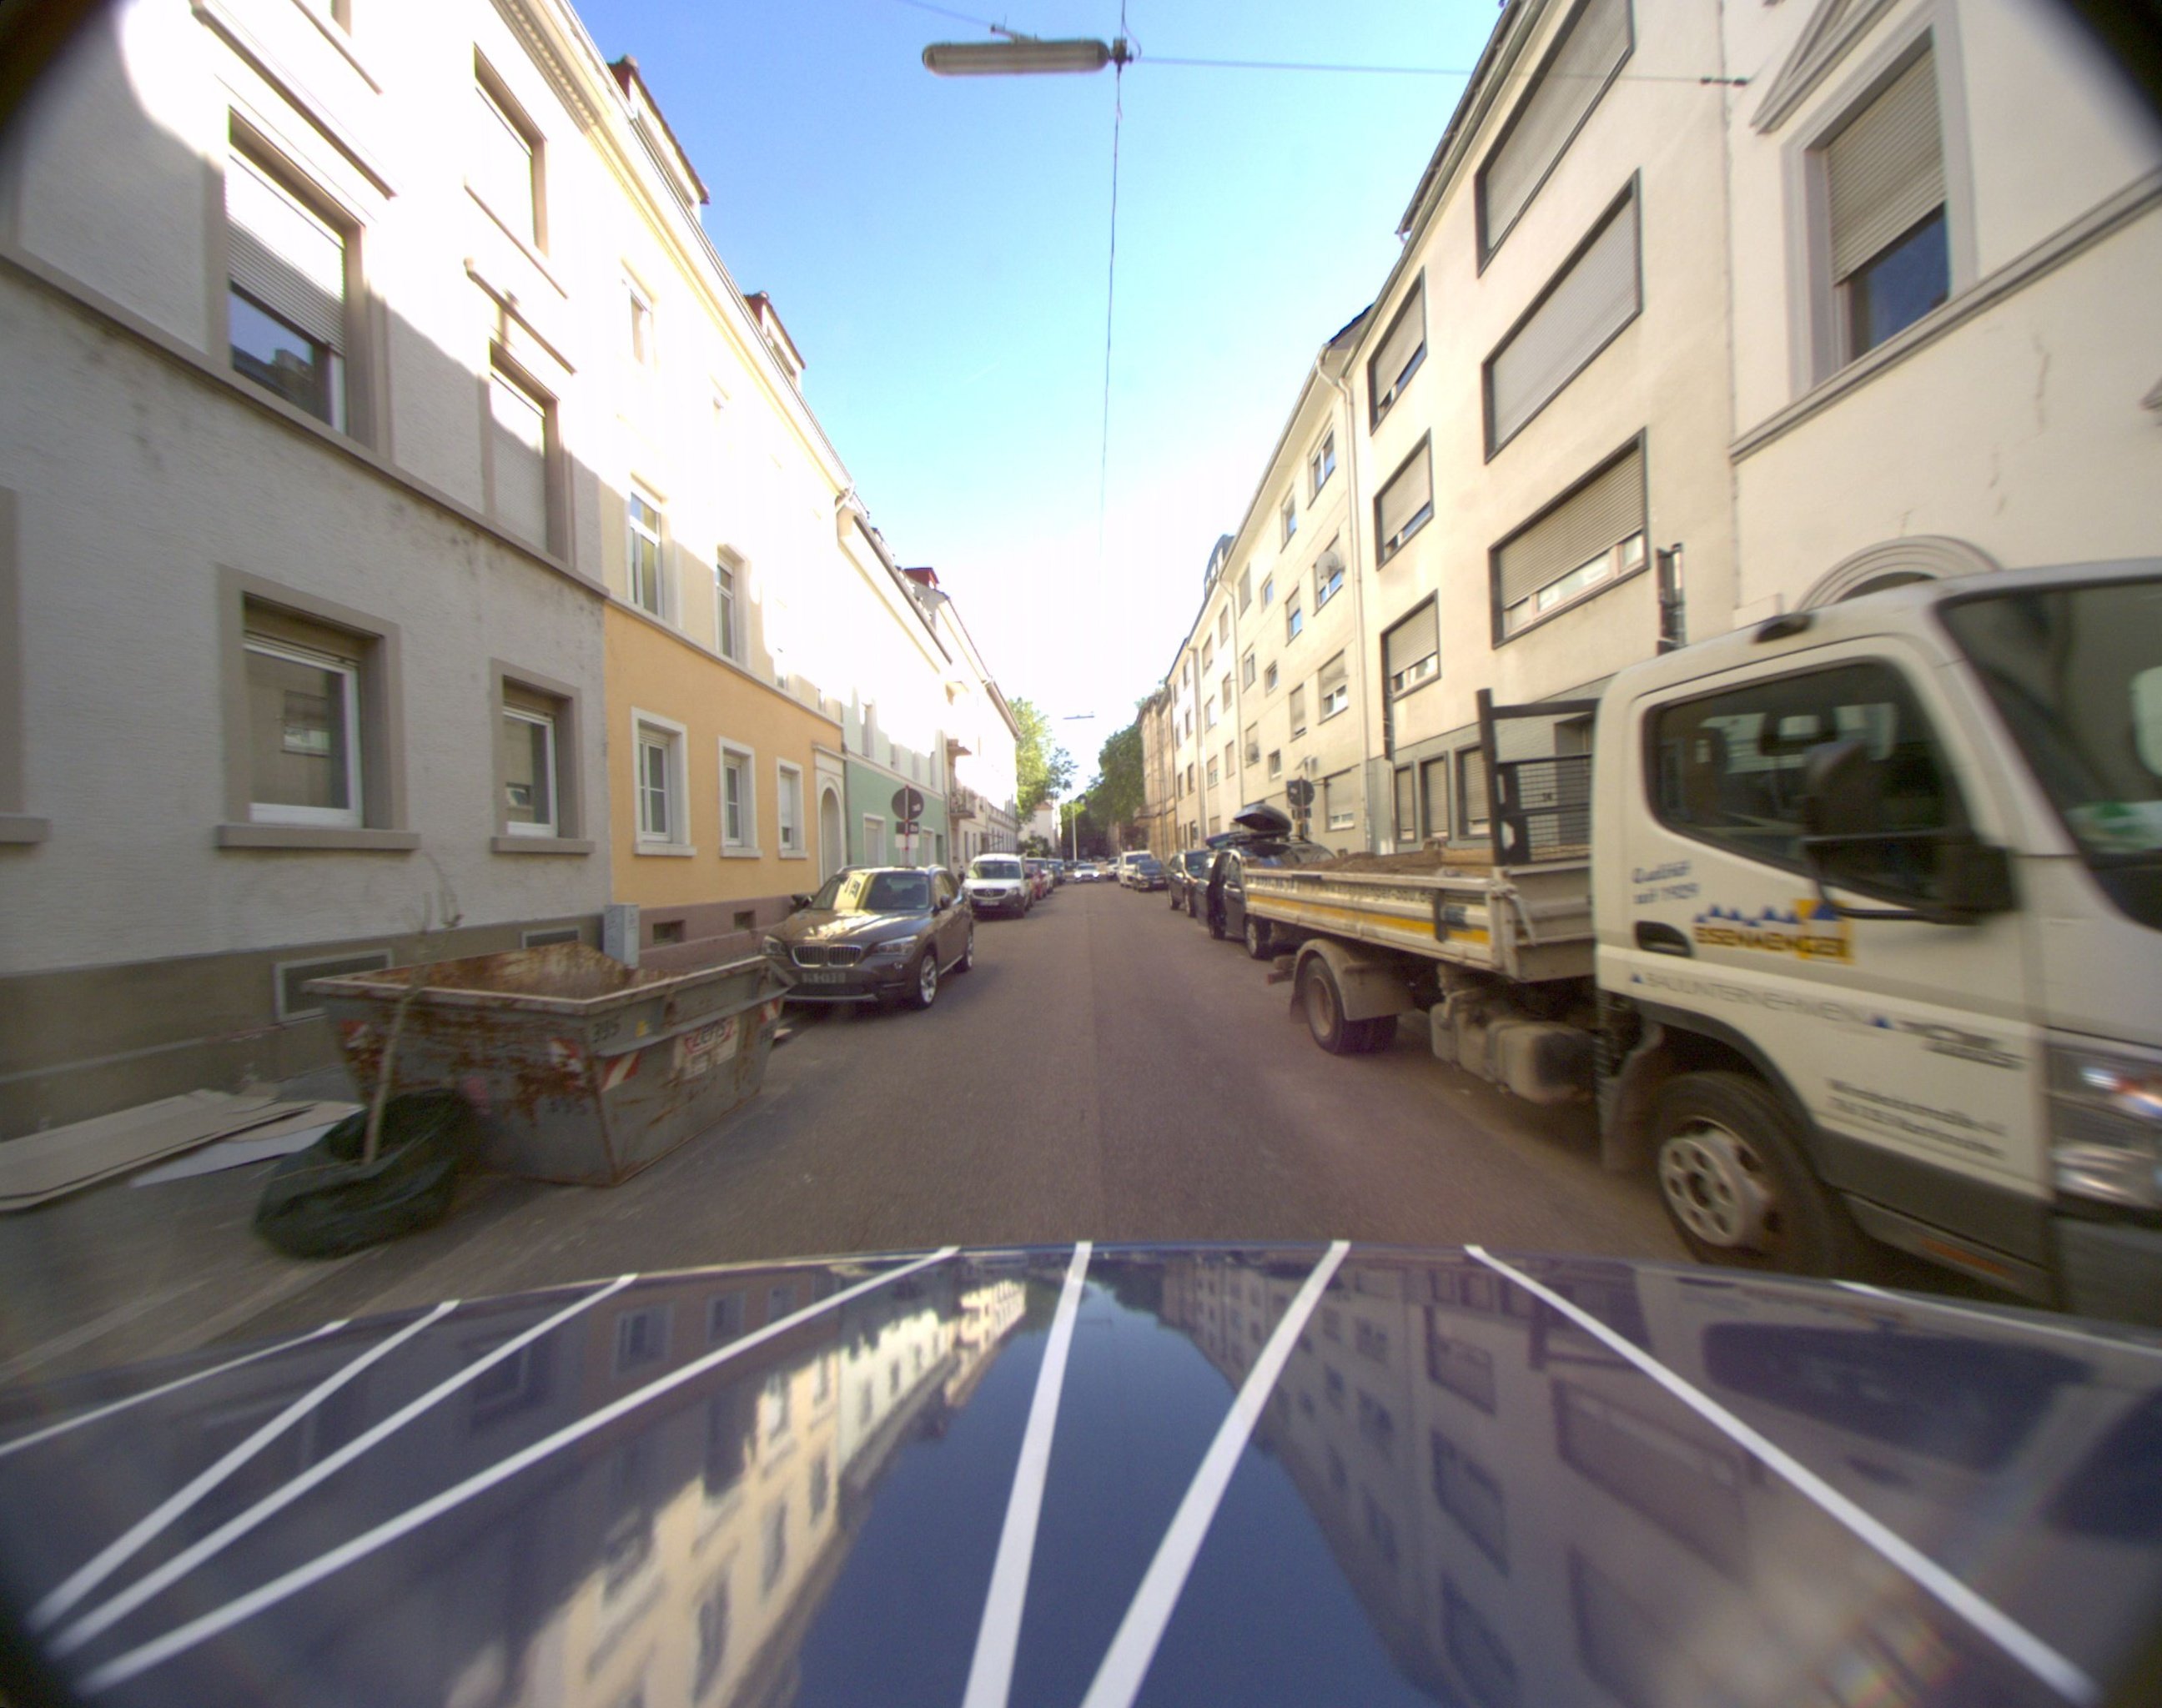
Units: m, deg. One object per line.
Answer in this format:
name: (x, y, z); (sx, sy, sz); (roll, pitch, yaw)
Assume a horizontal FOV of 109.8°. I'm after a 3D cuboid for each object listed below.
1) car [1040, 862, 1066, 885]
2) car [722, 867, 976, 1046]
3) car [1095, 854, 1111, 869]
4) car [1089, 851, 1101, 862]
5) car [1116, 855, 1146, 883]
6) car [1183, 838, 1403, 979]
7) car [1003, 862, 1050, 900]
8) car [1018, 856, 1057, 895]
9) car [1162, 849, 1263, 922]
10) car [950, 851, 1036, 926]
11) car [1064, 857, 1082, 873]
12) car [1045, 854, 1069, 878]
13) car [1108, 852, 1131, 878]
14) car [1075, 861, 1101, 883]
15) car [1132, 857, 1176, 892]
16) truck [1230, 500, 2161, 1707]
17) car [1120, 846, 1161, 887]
car: (-1.896, 1.343, 53.008); (1.588, 1.409, 3.557); (-2, 1, 1)
car: (-2.491, 1.014, 9.277); (1.744, 1.534, 4.051); (-2, 1, 1)
car: (2.612, 0.906, 91.696); (1.786, 1.674, 4.021); (-2, 1, 1)
car: (2.451, 0.417, 131.395); (1.985, 1.674, 4.021); (-2, 1, 1)
car: (3.424, 0.976, 52.706); (1.768, 1.724, 4.836); (-2, 1, 1)
car: (3.192, 0.722, 12.743); (1.918, 1.871, 5.183); (0, 0, -4)
car: (-2.224, 1.103, 31.666); (1.578, 1.459, 3.870); (-2, -1, 1)
car: (-2.094, 1.010, 37.363); (1.604, 1.772, 3.760); (-2, 0, 1)
car: (3.464, 0.763, 20.791); (1.759, 1.759, 4.177); (-1, 1, -4)
car: (-2.472, 0.902, 22.387); (1.898, 1.875, 4.457); (-2, 1, 1)
car: (-0.885, 1.197, 85.460); (1.857, 1.620, 4.072); (-2, 1, 1)
car: (-2.021, 0.991, 64.368); (1.786, 1.867, 4.021); (-2, 1, 1)
car: (3.111, 0.844, 62.046); (1.585, 1.971, 4.068); (-2, 1, 1)
car: (0.514, 1.312, 56.113); (1.761, 1.399, 4.021); (-2, 1, 1)
car: (3.374, 0.922, 35.841); (1.730, 1.483, 4.115); (-3, 0, 2)
truck: (2.849, 0.449, 4.452); (2.171, 2.295, 6.345); (-1, 1, -5)
car: (3.229, 0.666, 42.347); (1.913, 2.076, 4.696); (-2, 0, 1)
